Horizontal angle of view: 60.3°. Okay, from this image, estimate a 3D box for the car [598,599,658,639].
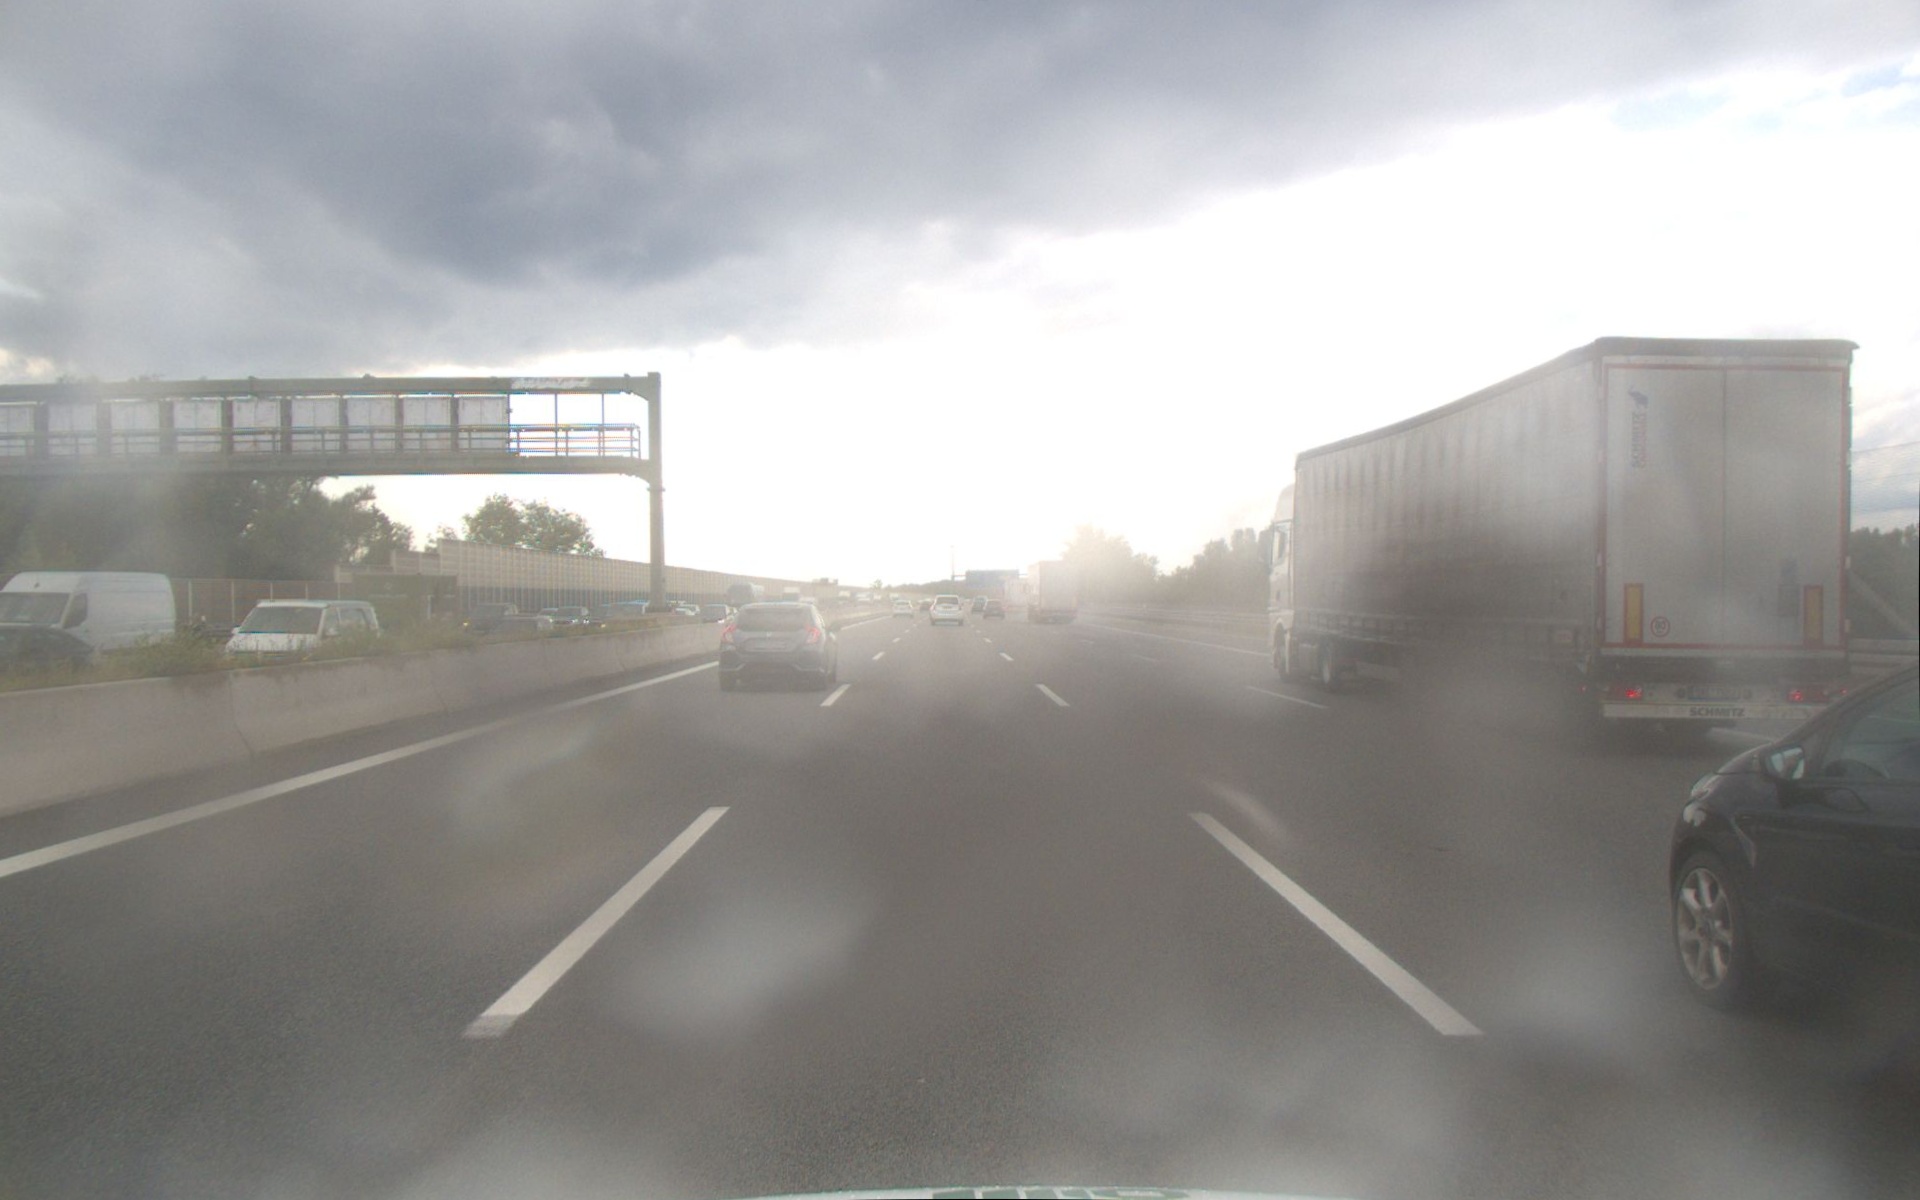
[{"bbox_3d":[-15.022,0.846,75.083,1.779,1.739,4.806,-1,0,0],"label":"car"}]

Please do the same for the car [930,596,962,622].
[{"bbox_3d":[-0.833,0.519,98.358,1.737,1.466,4.053,0,0,-3],"label":"car"}]

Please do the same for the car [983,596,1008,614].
[{"bbox_3d":[2.910,0.420,136.174,1.798,1.466,4.054,0,0,-1],"label":"car"}]

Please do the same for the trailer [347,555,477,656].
[{"bbox_3d":[-18.439,0.175,56.010,2.399,3.193,6.050,-1,0,0],"label":"trailer"}]

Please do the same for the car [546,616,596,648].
[{"bbox_3d":[-21.991,1.779,93.627,1.784,1.659,4.525,-1,0,-1],"label":"car"}]

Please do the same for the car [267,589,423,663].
[{"bbox_3d":[-18.405,0.726,49.883,2.399,2.087,6.193,-1,0,0],"label":"car"}]

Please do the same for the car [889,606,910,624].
[{"bbox_3d":[-5.196,1.238,141.802,1.737,1.466,3.872,0,0,-3],"label":"car"}]

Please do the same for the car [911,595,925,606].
[{"bbox_3d":[-5.580,0.036,218.535,1.737,1.466,4.053,0,0,-3],"label":"car"}]

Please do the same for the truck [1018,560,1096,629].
[{"bbox_3d":[6.461,-0.407,112.305,4.096,4.363,12.608,1,0,-2],"label":"truck"}]

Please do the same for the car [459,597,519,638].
[{"bbox_3d":[-22.135,0.796,77.827,1.712,1.880,4.164,-1,0,-2],"label":"car"}]

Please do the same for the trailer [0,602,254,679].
[{"bbox_3d":[-25.529,1.048,48.533,2.696,1.860,16.347,-1,0,0],"label":"trailer"}]

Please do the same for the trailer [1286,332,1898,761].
[{"bbox_3d":[7.433,-0.568,22.870,2.901,4.090,14.116,0,0,-1],"label":"trailer"}]

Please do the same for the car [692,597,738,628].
[{"bbox_3d":[-14.470,0.714,98.034,1.841,1.775,5.110,-1,0,1],"label":"car"}]

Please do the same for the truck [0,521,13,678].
[{"bbox_3d":[-25.485,0.008,39.113,2.696,3.955,6.050,-1,0,0],"label":"truck"}]

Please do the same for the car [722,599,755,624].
[{"bbox_3d":[-15.258,0.752,114.022,1.712,1.659,3.748,-1,0,0],"label":"car"}]

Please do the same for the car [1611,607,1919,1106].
[{"bbox_3d":[3.543,0.769,5.522,1.418,1.466,3.162,0,0,-2],"label":"car"}]

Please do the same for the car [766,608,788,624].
[{"bbox_3d":[-18.867,1.604,170.388,1.711,1.552,4.927,-1,0,0],"label":"car"}]

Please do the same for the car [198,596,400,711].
[{"bbox_3d":[-14.174,1.069,35.873,2.184,2.276,5.512,-1,0,0],"label":"car"}]

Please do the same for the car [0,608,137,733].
[{"bbox_3d":[-17.774,1.249,30.738,2.198,2.151,5.540,-1,0,0],"label":"car"}]

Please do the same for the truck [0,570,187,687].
[{"bbox_3d":[-21.635,0.665,40.827,2.198,2.649,6.556,-1,0,-2],"label":"truck"}]

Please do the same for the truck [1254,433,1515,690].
[{"bbox_3d":[7.354,-0.643,29.673,2.901,4.090,6.588,0,0,-1],"label":"truck"}]

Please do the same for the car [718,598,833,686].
[{"bbox_3d":[-3.207,0.680,29.513,1.725,1.393,5.057,0,0,-3],"label":"car"}]

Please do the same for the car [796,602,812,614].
[{"bbox_3d":[-21.832,1.086,231.037,1.711,1.552,5.140,-1,0,0],"label":"car"}]

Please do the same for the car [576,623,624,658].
[{"bbox_3d":[-18.075,2.022,83.101,1.648,1.605,3.874,-1,0,-2],"label":"car"}]

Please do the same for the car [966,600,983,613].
[{"bbox_3d":[1.690,0.732,194.427,1.798,1.466,4.054,0,0,-1],"label":"car"}]

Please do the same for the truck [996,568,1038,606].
[{"bbox_3d":[6.544,-1.451,192.011,4.158,4.249,11.986,1,0,-1],"label":"truck"}]
